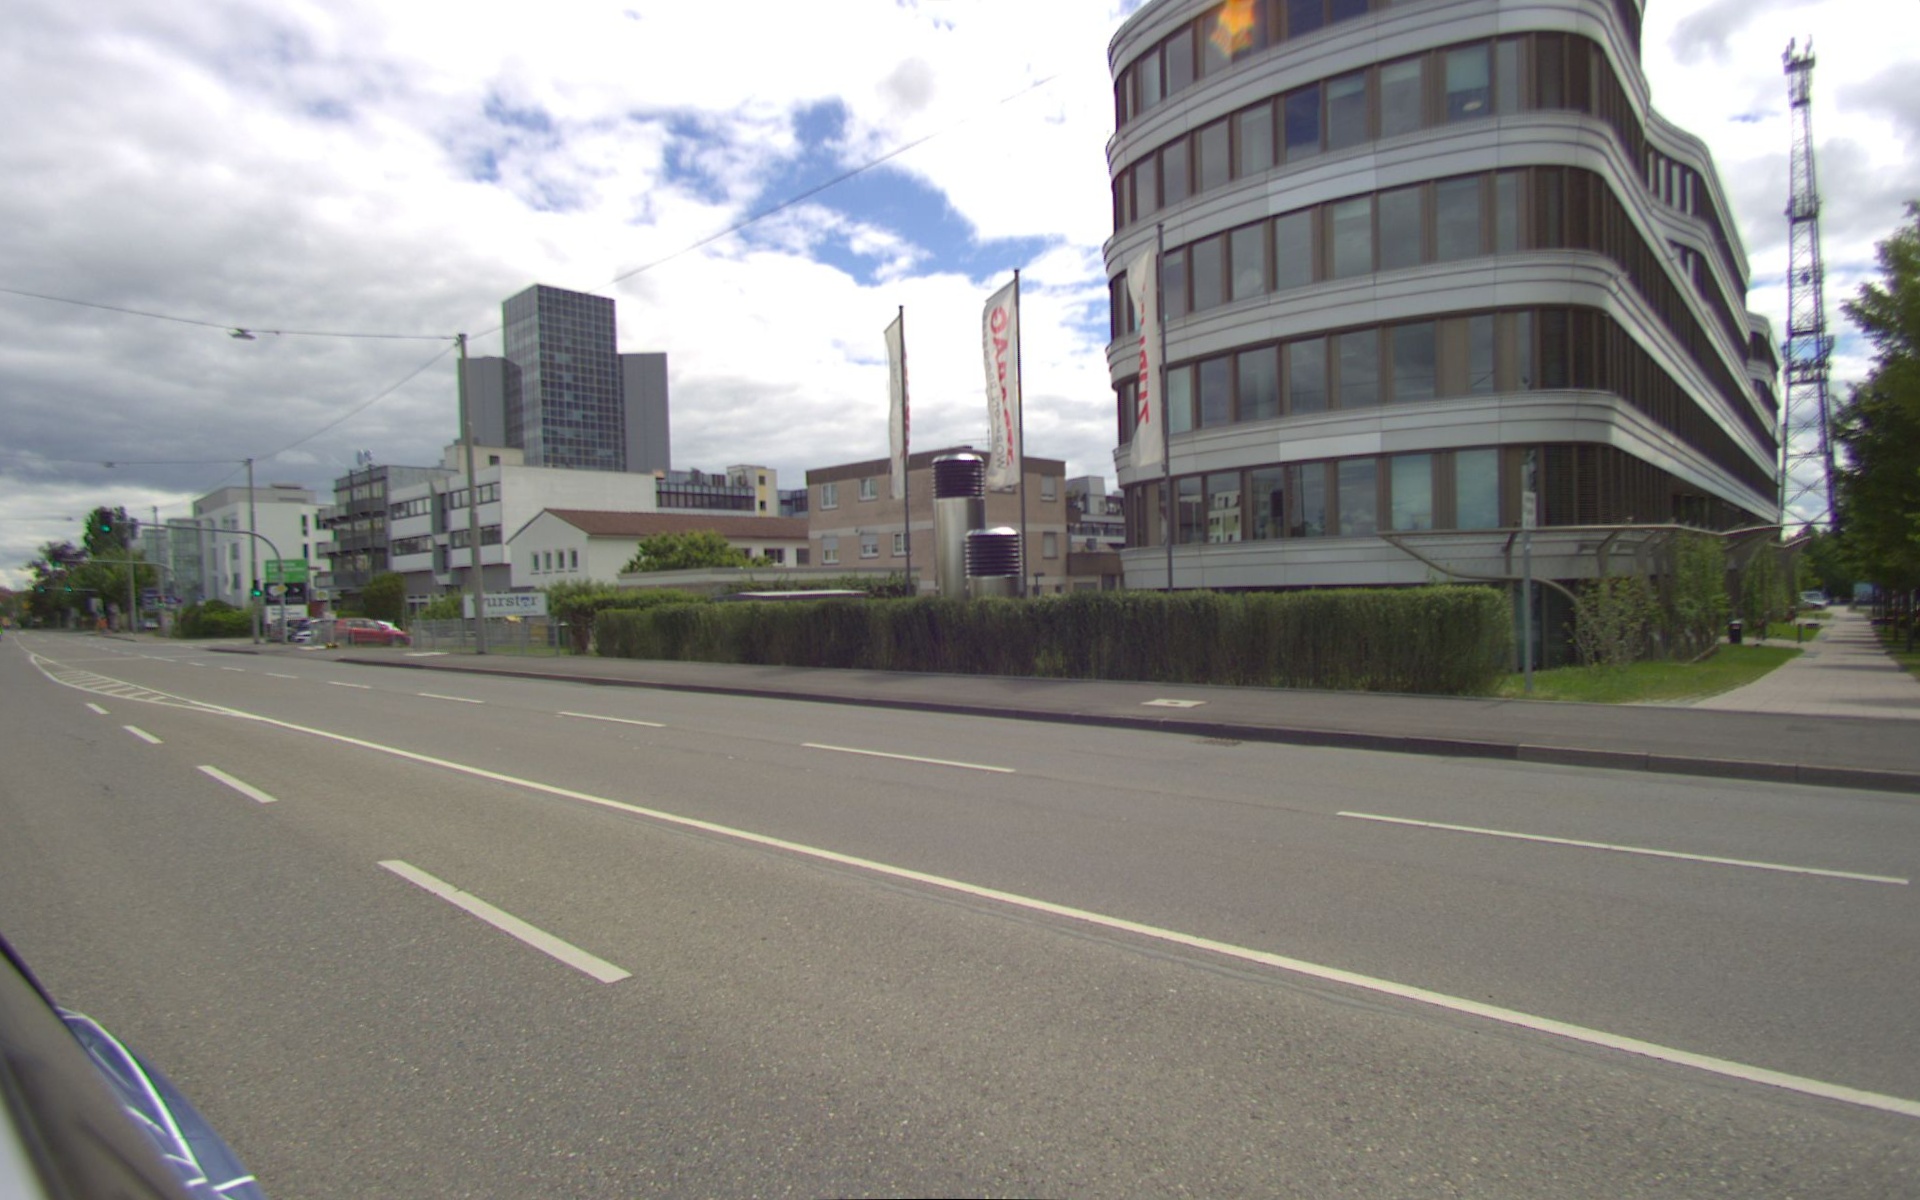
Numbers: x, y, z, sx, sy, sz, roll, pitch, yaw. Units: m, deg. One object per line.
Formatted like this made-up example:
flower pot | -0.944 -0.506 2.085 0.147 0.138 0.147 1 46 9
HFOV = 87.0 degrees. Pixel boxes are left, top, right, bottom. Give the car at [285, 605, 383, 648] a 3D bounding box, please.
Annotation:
car | -32.670 1.345 52.873 1.920 2.029 3.944 -1 1 42

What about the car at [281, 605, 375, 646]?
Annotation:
car | -34.190 1.347 54.822 1.904 2.029 3.944 -1 1 43

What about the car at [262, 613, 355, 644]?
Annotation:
car | -36.121 1.569 56.148 1.823 1.342 3.946 -3 2 42

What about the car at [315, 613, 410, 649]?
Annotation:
car | -30.230 1.560 51.279 1.834 1.623 3.754 -2 0 40
